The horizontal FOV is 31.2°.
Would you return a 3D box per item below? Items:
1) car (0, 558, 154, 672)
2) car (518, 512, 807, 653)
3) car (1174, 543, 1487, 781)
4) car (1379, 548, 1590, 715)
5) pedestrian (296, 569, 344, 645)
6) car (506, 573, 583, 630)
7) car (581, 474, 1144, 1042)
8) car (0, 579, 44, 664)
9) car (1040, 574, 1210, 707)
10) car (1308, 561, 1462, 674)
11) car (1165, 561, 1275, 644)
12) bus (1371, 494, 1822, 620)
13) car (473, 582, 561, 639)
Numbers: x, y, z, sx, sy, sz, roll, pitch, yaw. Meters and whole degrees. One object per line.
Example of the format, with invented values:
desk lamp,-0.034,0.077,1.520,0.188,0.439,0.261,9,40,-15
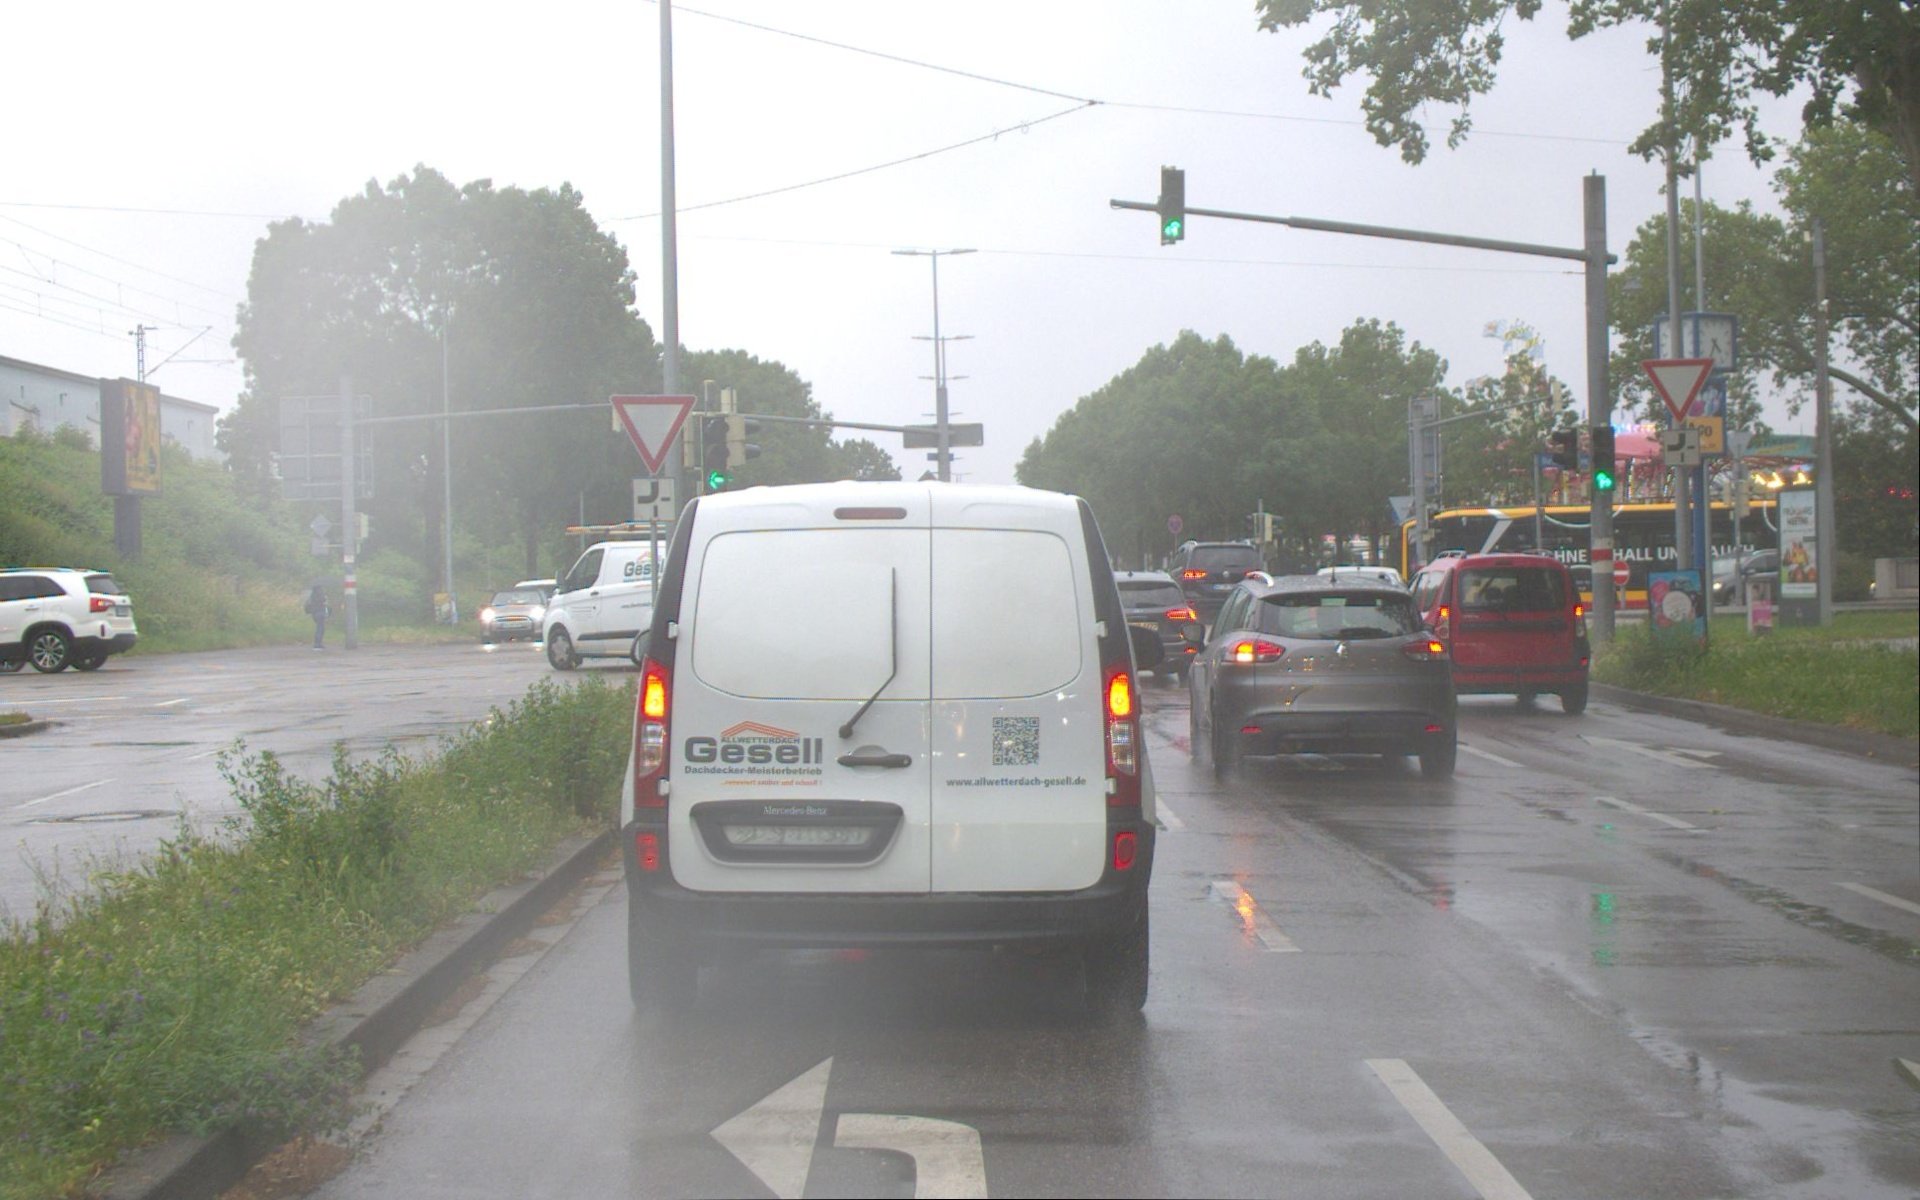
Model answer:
car,-16.063,0.264,57.830,4.428,1.839,1.999,-1,0,9
car,-4.485,-0.265,51.188,1.994,1.949,4.819,-3,2,-36
car,2.658,0.410,25.490,1.842,1.612,4.000,0,0,0
car,5.466,0.301,36.169,1.632,1.650,3.485,1,1,0
pedestrian,-14.675,0.149,78.842,1.001,1.713,0.820,-1,0,-8
car,-11.513,0.031,95.509,1.827,1.477,4.001,-1,1,-3
car,-0.321,0.476,12.769,1.756,1.771,4.000,0,1,0
car,-18.771,0.409,62.583,3.986,1.497,1.772,-1,1,-13
car,2.122,0.494,45.341,1.835,1.650,4.000,1,1,-3
car,6.299,0.237,51.346,1.842,1.612,4.000,0,0,1
car,5.185,0.018,68.974,1.993,1.568,4.000,-1,1,2
bus,18.155,-1.233,98.660,12.249,3.257,3.275,-1,0,0
car,-11.452,0.266,89.122,1.892,1.344,4.001,-1,1,-2
